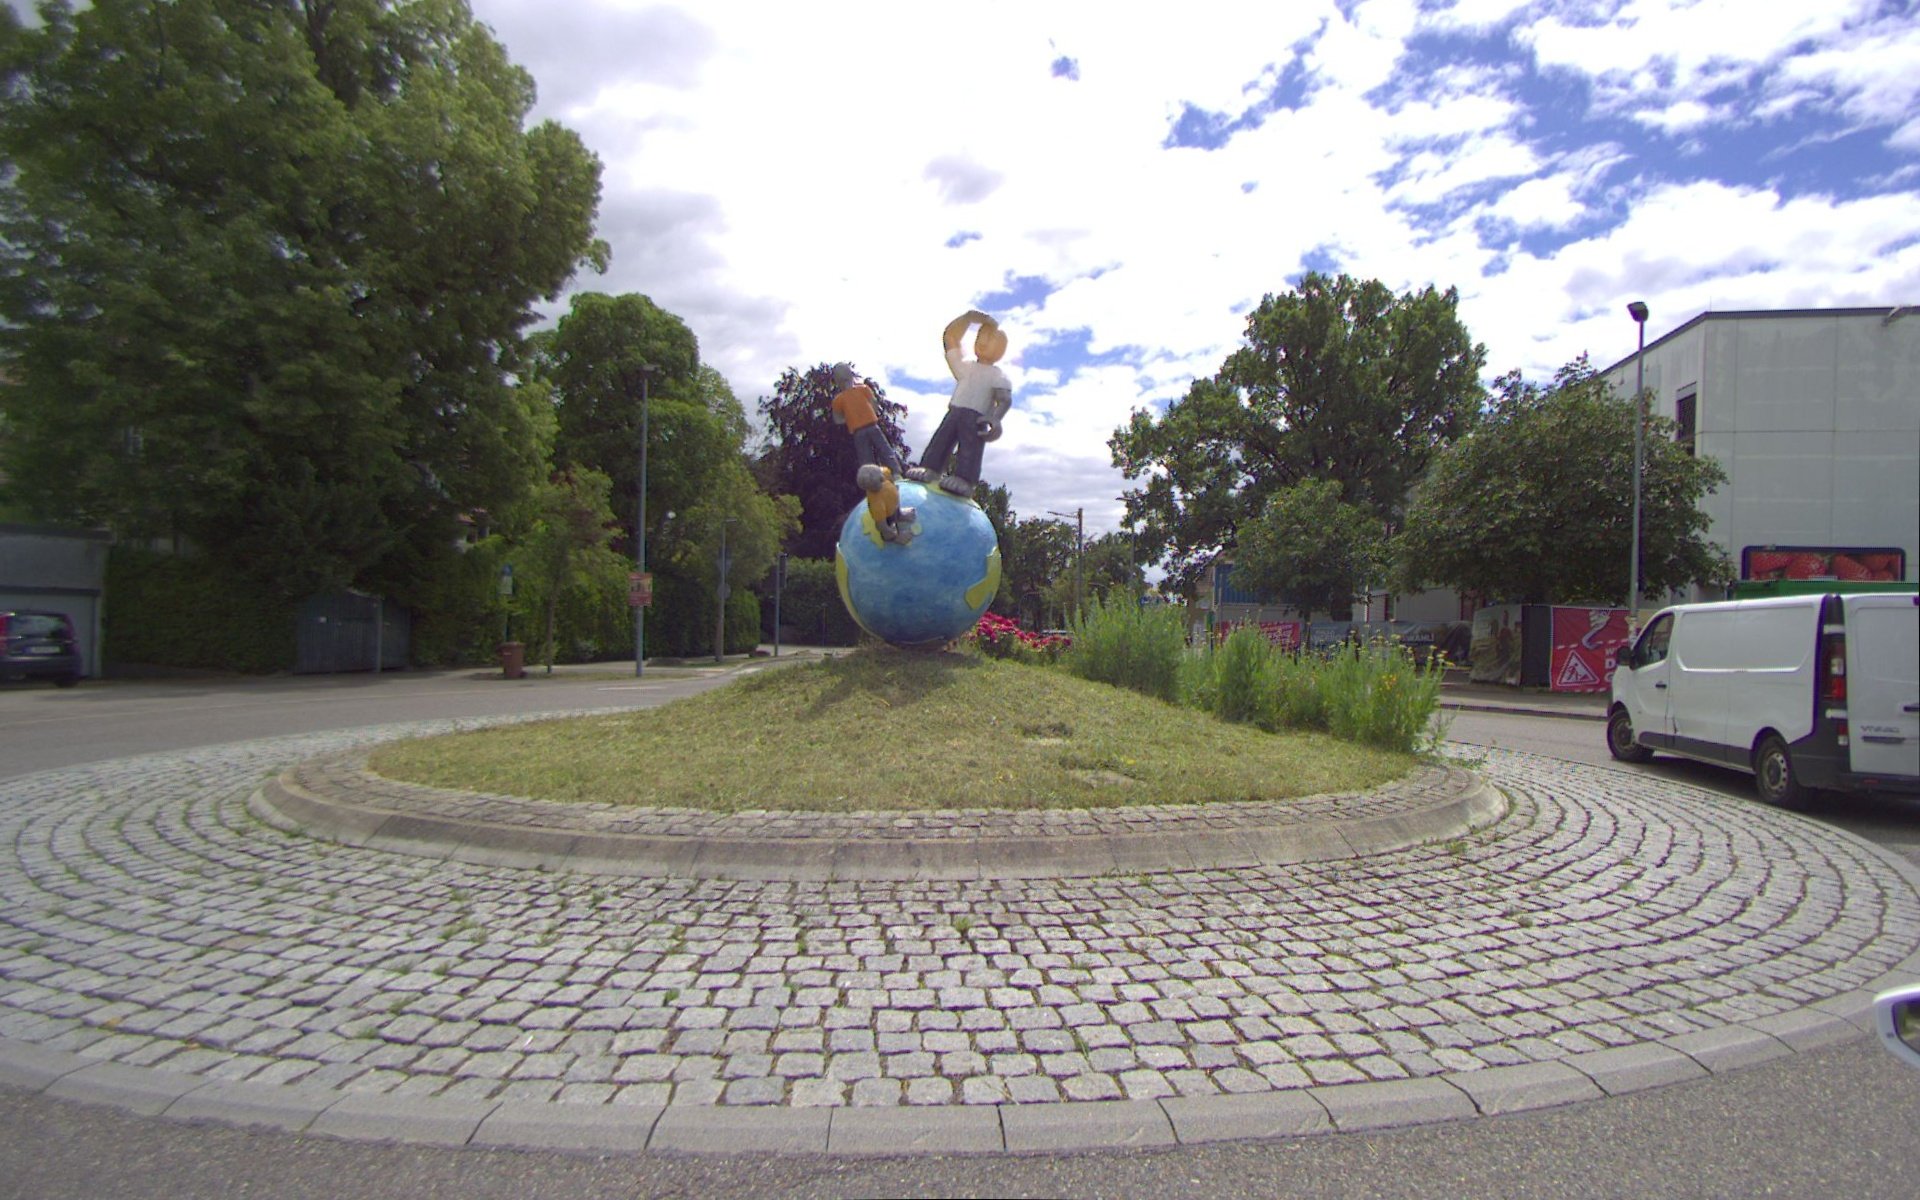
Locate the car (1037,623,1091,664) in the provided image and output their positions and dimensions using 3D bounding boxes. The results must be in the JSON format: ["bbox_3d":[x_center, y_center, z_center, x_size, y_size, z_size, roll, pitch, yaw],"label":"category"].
[{"bbox_3d":[4.452,1.842,43.652,1.900,1.558,3.925,2,0,0],"label":"car"}]

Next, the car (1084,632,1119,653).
[{"bbox_3d":[11.300,3.338,79.796,2.028,1.520,3.925,2,0,19],"label":"car"}]

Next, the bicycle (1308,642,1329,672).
[{"bbox_3d":[14.640,2.302,41.068,0.520,1.108,2.072,3,0,13],"label":"bicycle"}]

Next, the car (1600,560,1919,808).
[{"bbox_3d":[8.697,0.761,10.446,2.000,1.971,4.996,3,0,16],"label":"car"}]

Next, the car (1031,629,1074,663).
[{"bbox_3d":[4.708,2.352,51.635,1.887,1.520,3.925,2,0,2],"label":"car"}]

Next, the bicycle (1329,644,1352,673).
[{"bbox_3d":[15.539,2.379,41.032,0.531,1.063,1.970,3,0,12],"label":"bicycle"}]

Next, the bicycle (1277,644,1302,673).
[{"bbox_3d":[13.483,2.371,41.132,0.619,1.063,2.073,3,0,9],"label":"bicycle"}]

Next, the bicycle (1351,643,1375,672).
[{"bbox_3d":[16.297,2.315,40.672,0.619,1.063,1.970,3,0,15],"label":"bicycle"}]

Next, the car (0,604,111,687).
[{"bbox_3d":[-18.903,0.848,19.685,3.924,1.505,1.999,0,-1,25],"label":"car"}]

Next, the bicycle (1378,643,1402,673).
[{"bbox_3d":[17.161,2.315,40.107,0.619,1.078,1.970,3,0,17],"label":"bicycle"}]

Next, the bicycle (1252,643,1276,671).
[{"bbox_3d":[12.527,2.338,41.336,0.620,1.063,2.070,3,0,25],"label":"bicycle"}]

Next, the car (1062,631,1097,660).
[{"bbox_3d":[8.283,3.129,69.530,1.865,1.768,3.927,2,0,14],"label":"car"}]

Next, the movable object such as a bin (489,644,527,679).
[{"bbox_3d":[-11.486,1.553,25.527,0.619,0.874,0.640,0,-1,23],"label":"movable object such as a bin"}]
